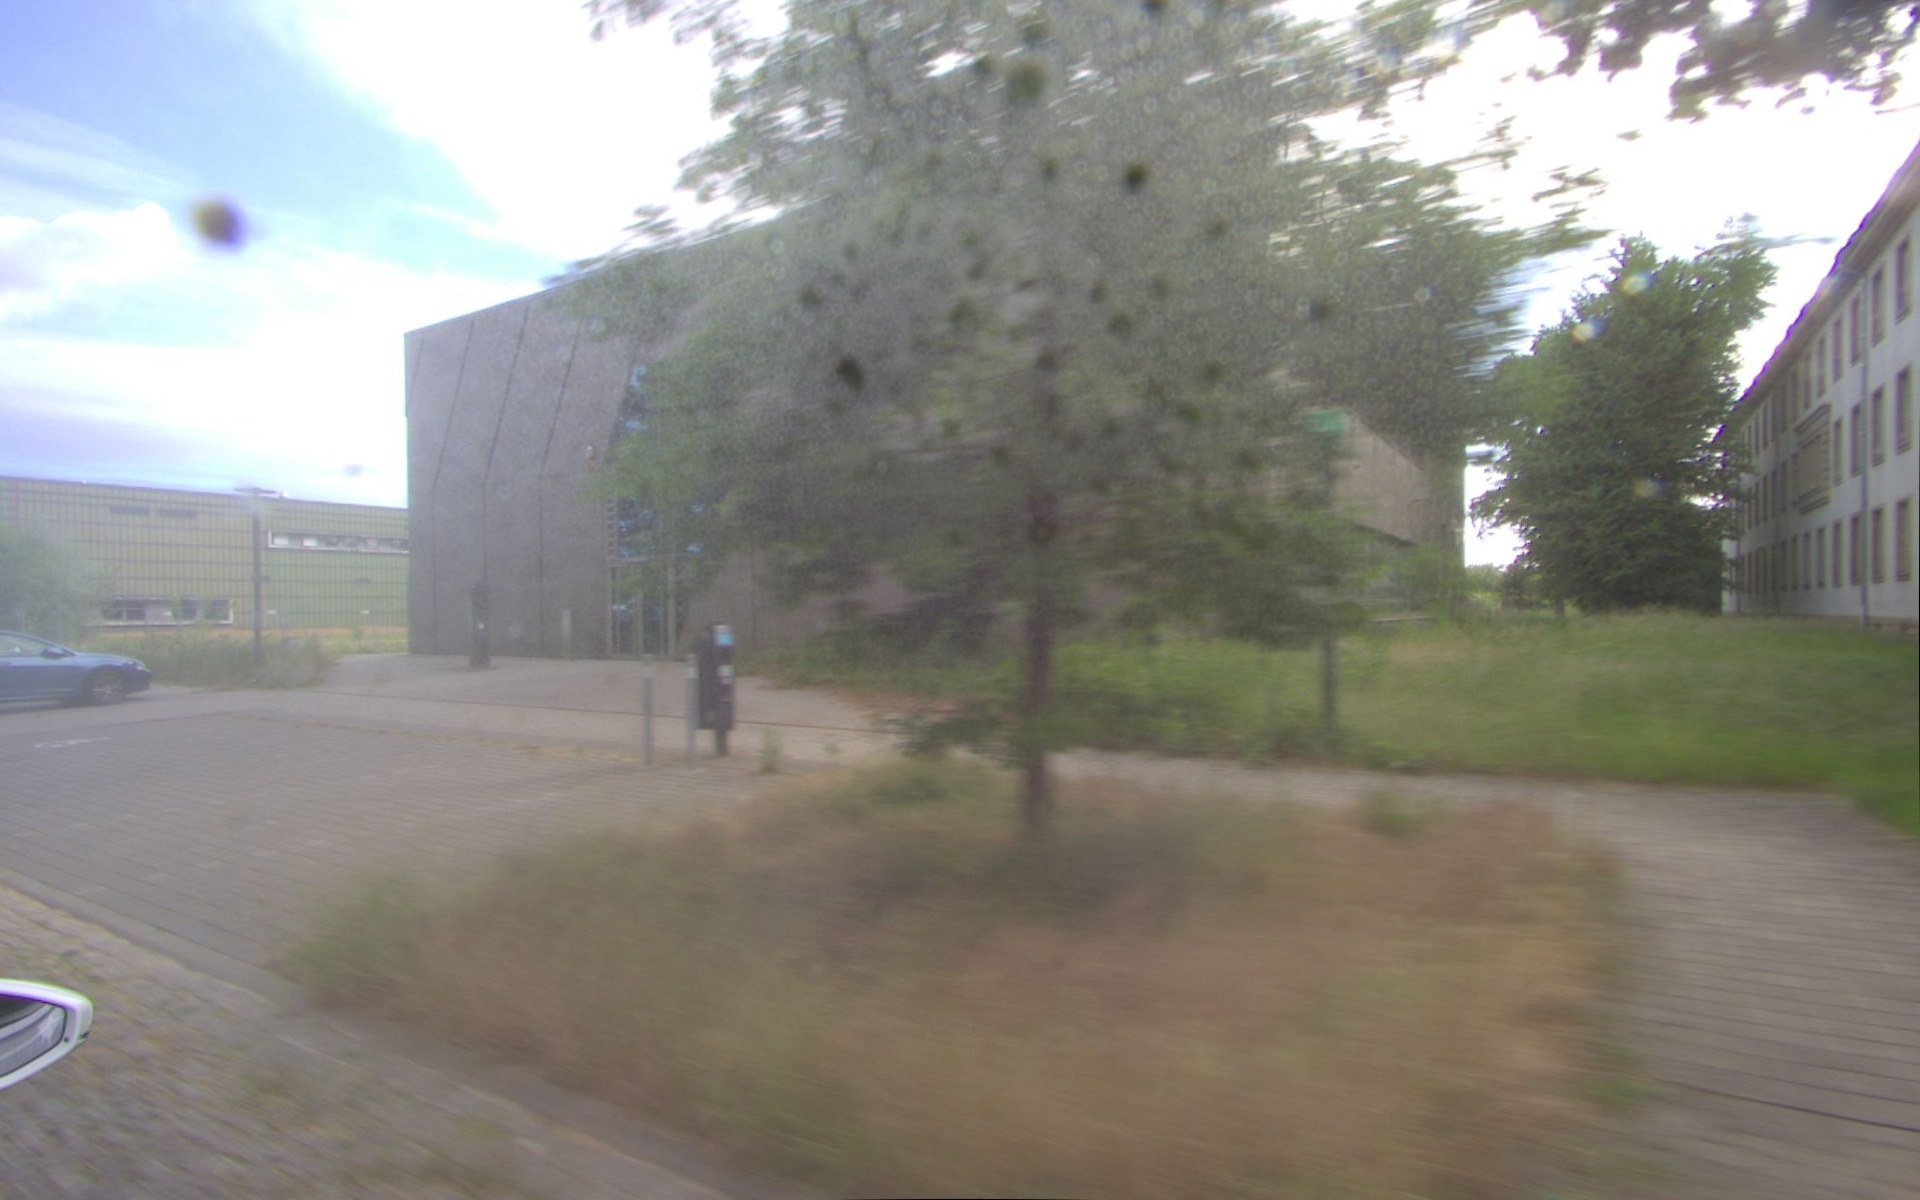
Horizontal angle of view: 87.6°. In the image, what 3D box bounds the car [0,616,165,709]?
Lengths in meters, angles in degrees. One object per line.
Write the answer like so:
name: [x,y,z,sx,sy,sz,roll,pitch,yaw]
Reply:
car: [-16.813,1.103,17.252,1.796,1.463,4.514,0,1,29]
